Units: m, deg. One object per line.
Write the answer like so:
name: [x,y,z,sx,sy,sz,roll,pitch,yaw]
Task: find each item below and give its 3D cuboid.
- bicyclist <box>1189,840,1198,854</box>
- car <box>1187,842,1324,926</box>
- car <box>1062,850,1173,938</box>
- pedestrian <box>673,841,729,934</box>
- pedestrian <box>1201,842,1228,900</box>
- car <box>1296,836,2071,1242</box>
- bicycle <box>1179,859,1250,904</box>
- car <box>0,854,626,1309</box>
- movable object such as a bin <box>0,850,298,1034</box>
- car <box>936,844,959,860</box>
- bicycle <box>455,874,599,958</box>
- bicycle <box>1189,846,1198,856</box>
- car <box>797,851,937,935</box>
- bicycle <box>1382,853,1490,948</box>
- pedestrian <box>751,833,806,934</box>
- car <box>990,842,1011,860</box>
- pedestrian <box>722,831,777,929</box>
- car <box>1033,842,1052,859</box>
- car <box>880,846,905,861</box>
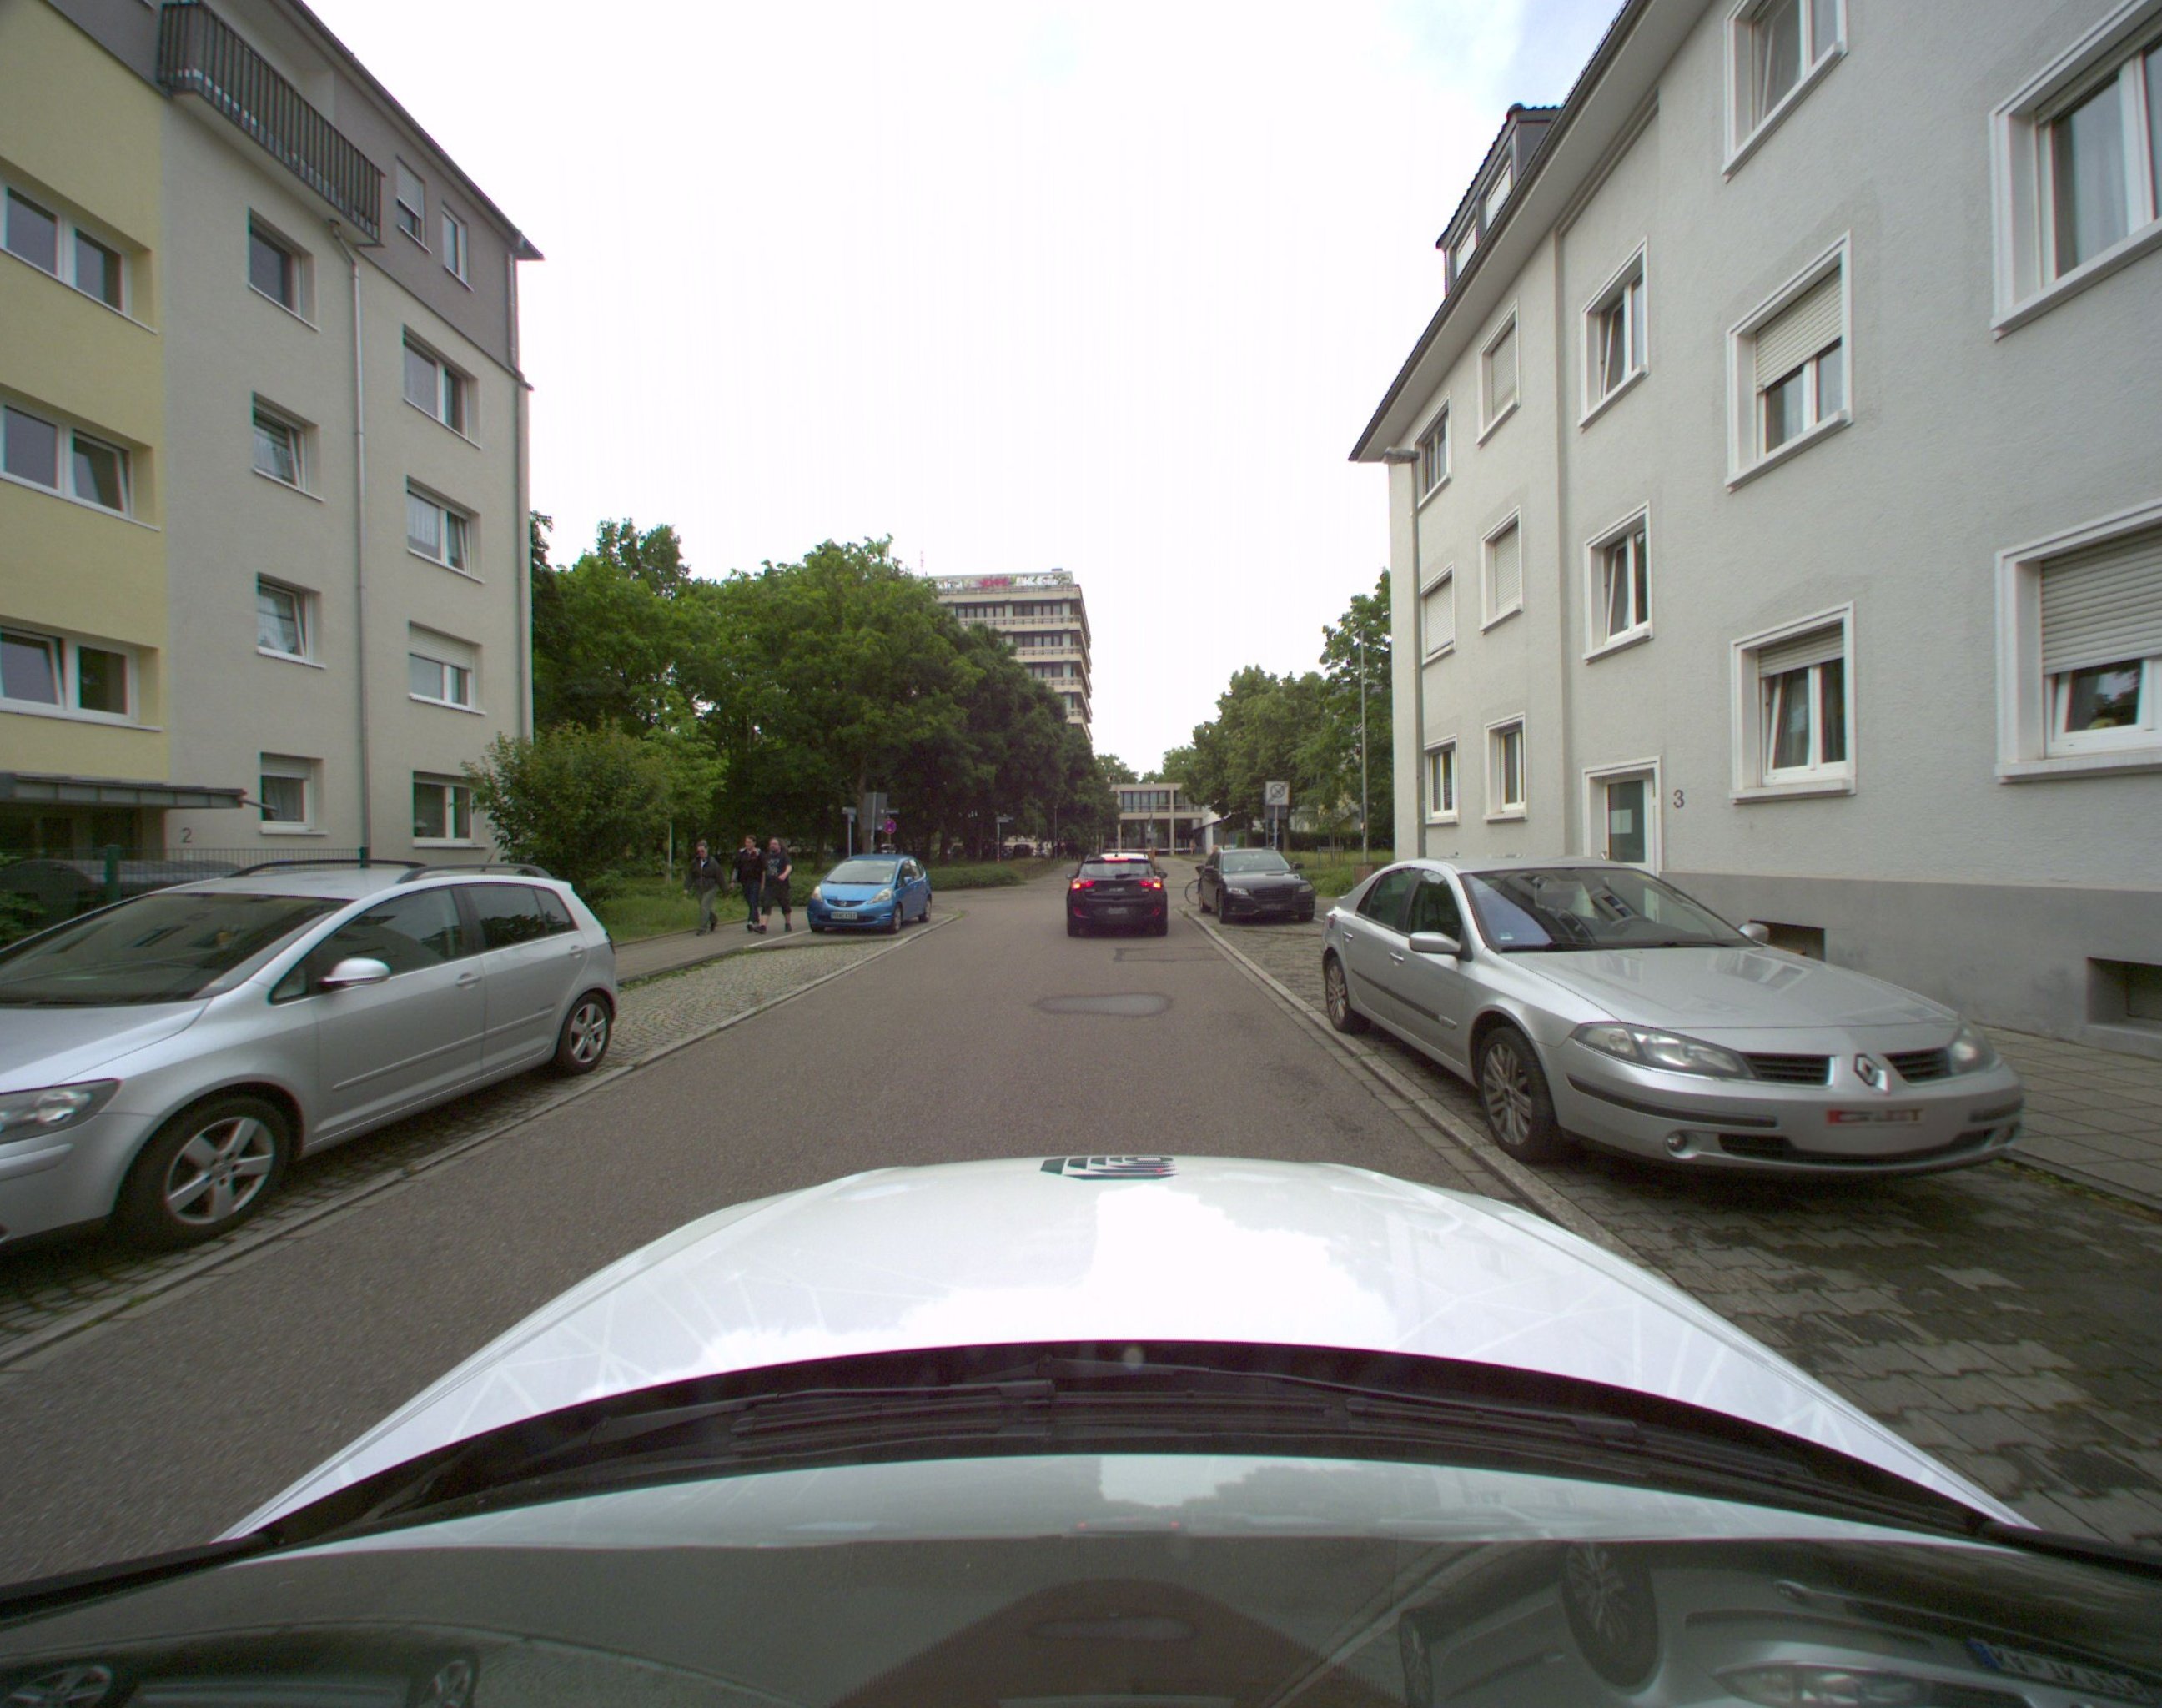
bicyclist: [13.078,-0.804,94.647,1.013,1.644,0.924,-1,1,3]
car: [3.466,0.520,17.091,1.854,1.462,4.726,-2,1,0]
car: [0.622,0.668,15.630,1.840,1.462,3.827,-1,0,0]
pedestrian: [-6.998,0.601,15.036,0.612,1.657,0.803,-1,0,1]
pedestrian: [3.662,0.450,22.302,0.565,1.549,0.447,-3,1,-5]
car: [2.831,0.658,5.243,1.727,1.462,4.431,-1,1,0]
bicycle: [3.685,0.756,22.526,1.810,1.119,0.537,-3,1,-7]
car: [-4.646,0.827,4.728,1.647,1.550,3.918,2,1,2]
movable object such as a bin: [-8.580,0.698,7.238,1.583,1.421,1.671,-1,1,1]
car: [-14.613,-0.246,89.256,1.988,1.618,3.998,-1,0,-2]
bicycle: [-8.391,0.895,12.473,0.654,1.068,2.123,-1,1,3]
bicycle: [13.056,-0.325,94.827,0.863,1.074,2.144,-1,1,3]
car: [-4.300,0.714,16.977,1.724,1.462,3.959,1,1,2]
bicycle: [5.062,0.621,11.755,0.746,1.200,1.896,-3,1,2]
pedestrian: [-5.765,0.541,15.545,0.638,1.863,0.975,1,0,2]
car: [-8.799,-0.312,89.328,1.988,1.794,3.997,-1,-1,-2]
pedestrian: [-6.417,0.491,15.801,0.704,1.854,0.763,-1,0,1]
car: [-4.221,-0.361,89.241,1.988,1.762,3.997,-1,0,-2]
car: [-20.767,-0.082,89.984,1.912,1.618,3.998,-1,0,-2]
